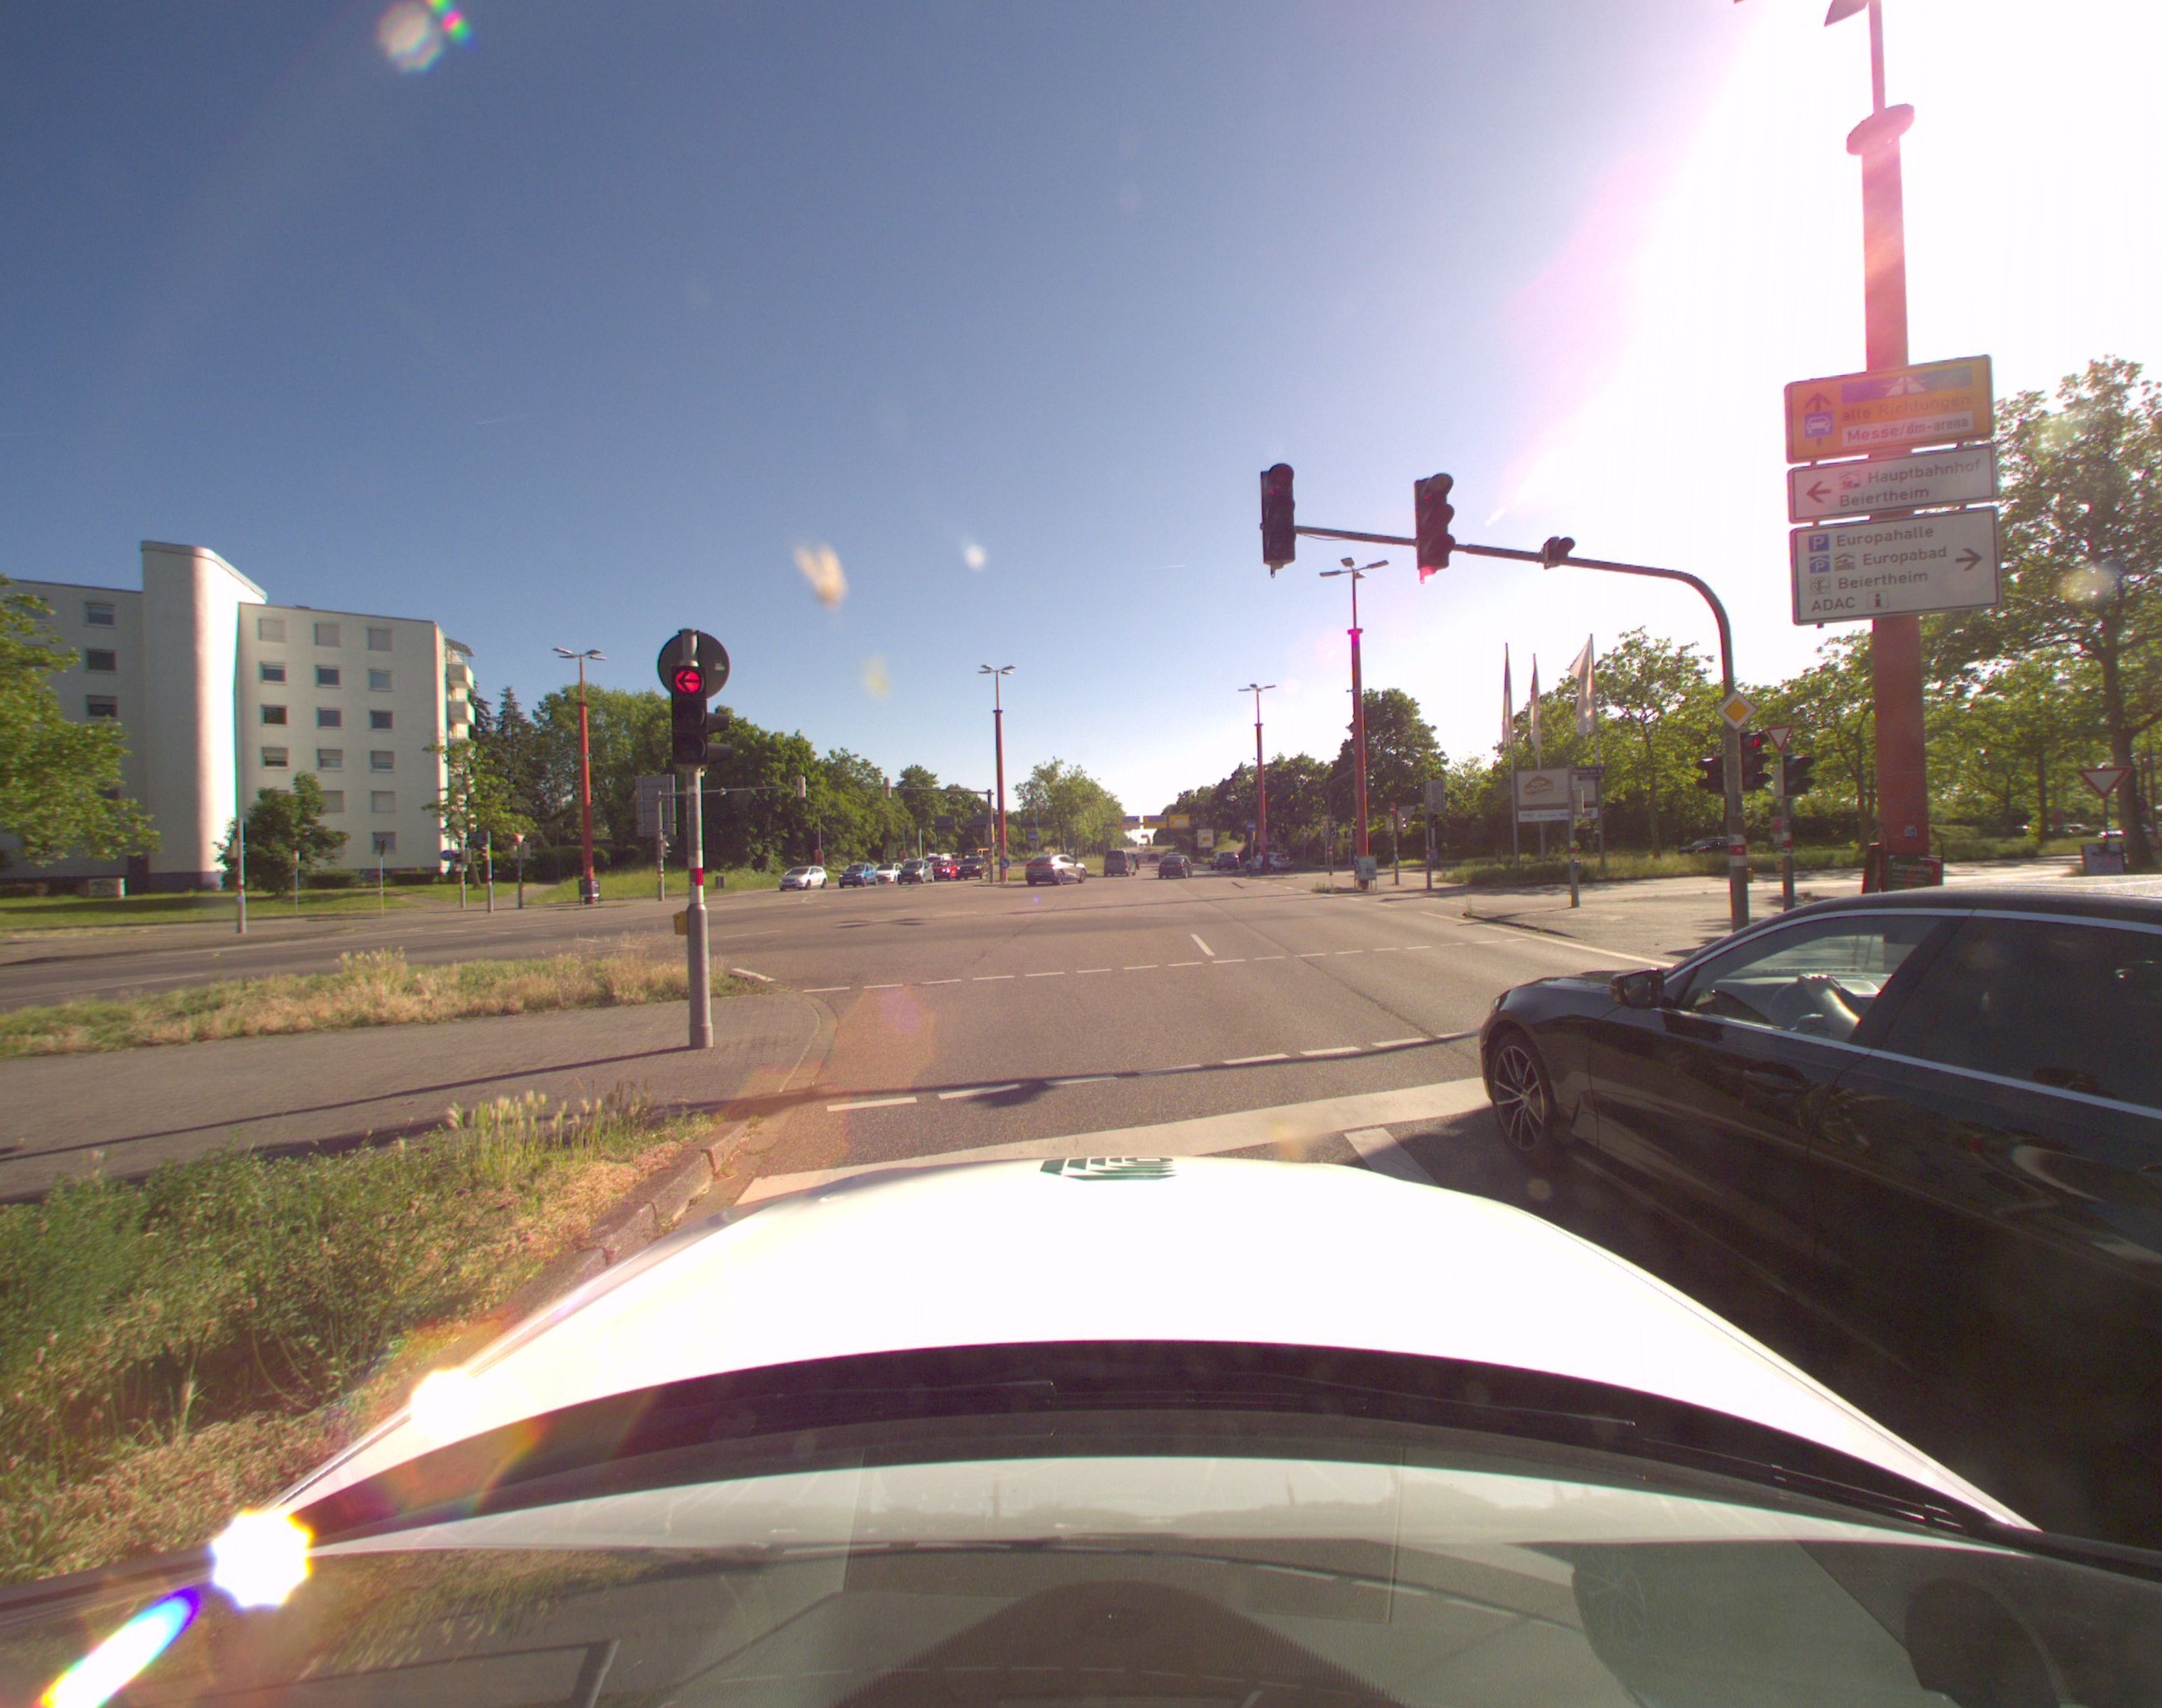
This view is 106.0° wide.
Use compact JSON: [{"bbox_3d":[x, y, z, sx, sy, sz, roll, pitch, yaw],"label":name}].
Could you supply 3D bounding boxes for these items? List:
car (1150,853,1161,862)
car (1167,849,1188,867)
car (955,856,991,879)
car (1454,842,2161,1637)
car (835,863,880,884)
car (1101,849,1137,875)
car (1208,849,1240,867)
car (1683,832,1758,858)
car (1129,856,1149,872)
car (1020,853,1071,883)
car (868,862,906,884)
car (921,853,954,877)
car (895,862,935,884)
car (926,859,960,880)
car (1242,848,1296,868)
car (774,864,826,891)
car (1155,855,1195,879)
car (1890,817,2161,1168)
[{"bbox_3d":[12.927,0.547,140.993,1.674,1.435,4.066,-2,0,2],"label":"car"},{"bbox_3d":[9.277,0.339,78.484,1.814,1.636,4.258,-2,0,5],"label":"car"},{"bbox_3d":[-7.443,0.894,56.410,1.812,1.508,4.002,-2,0,2],"label":"car"},{"bbox_3d":[2.924,0.684,2.375,1.861,1.398,4.448,-2,0,4],"label":"car"},{"bbox_3d":[-14.087,1.207,51.421,1.733,1.243,3.613,-2,0,1],"label":"car"},{"bbox_3d":[2.688,0.530,56.561,1.833,1.708,4.321,-2,0,11],"label":"car"},{"bbox_3d":[12.733,0.360,72.701,1.776,1.485,4.323,-2,0,-4],"label":"car"},{"bbox_3d":[43.038,-0.611,54.833,3.991,1.578,1.861,-2,0,-13],"label":"car"},{"bbox_3d":[5.695,0.951,79.365,1.843,1.545,4.268,-2,0,5],"label":"car"},{"bbox_3d":[-1.801,0.705,43.094,1.820,1.422,4.448,-2,0,9],"label":"car"},{"bbox_3d":[-13.670,1.314,57.530,1.733,1.411,3.613,-2,0,1],"label":"car"},{"bbox_3d":[-12.593,0.970,71.642,1.886,2.026,5.223,0,-1,1],"label":"car"},{"bbox_3d":[-10.603,1.184,52.308,1.733,1.243,3.613,-2,0,1],"label":"car"},{"bbox_3d":[-9.904,1.083,58.668,1.733,1.362,3.613,-2,0,1],"label":"car"},{"bbox_3d":[14.506,0.343,62.962,1.690,1.467,3.953,-2,0,-33],"label":"car"},{"bbox_3d":[-17.578,1.451,51.152,1.754,1.532,3.936,-2,0,1],"label":"car"},{"bbox_3d":[5.913,0.760,50.818,1.747,1.350,4.381,-2,0,15],"label":"car"},{"bbox_3d":[5.671,0.598,2.863,1.732,1.578,4.032,-2,0,3],"label":"car"}]
